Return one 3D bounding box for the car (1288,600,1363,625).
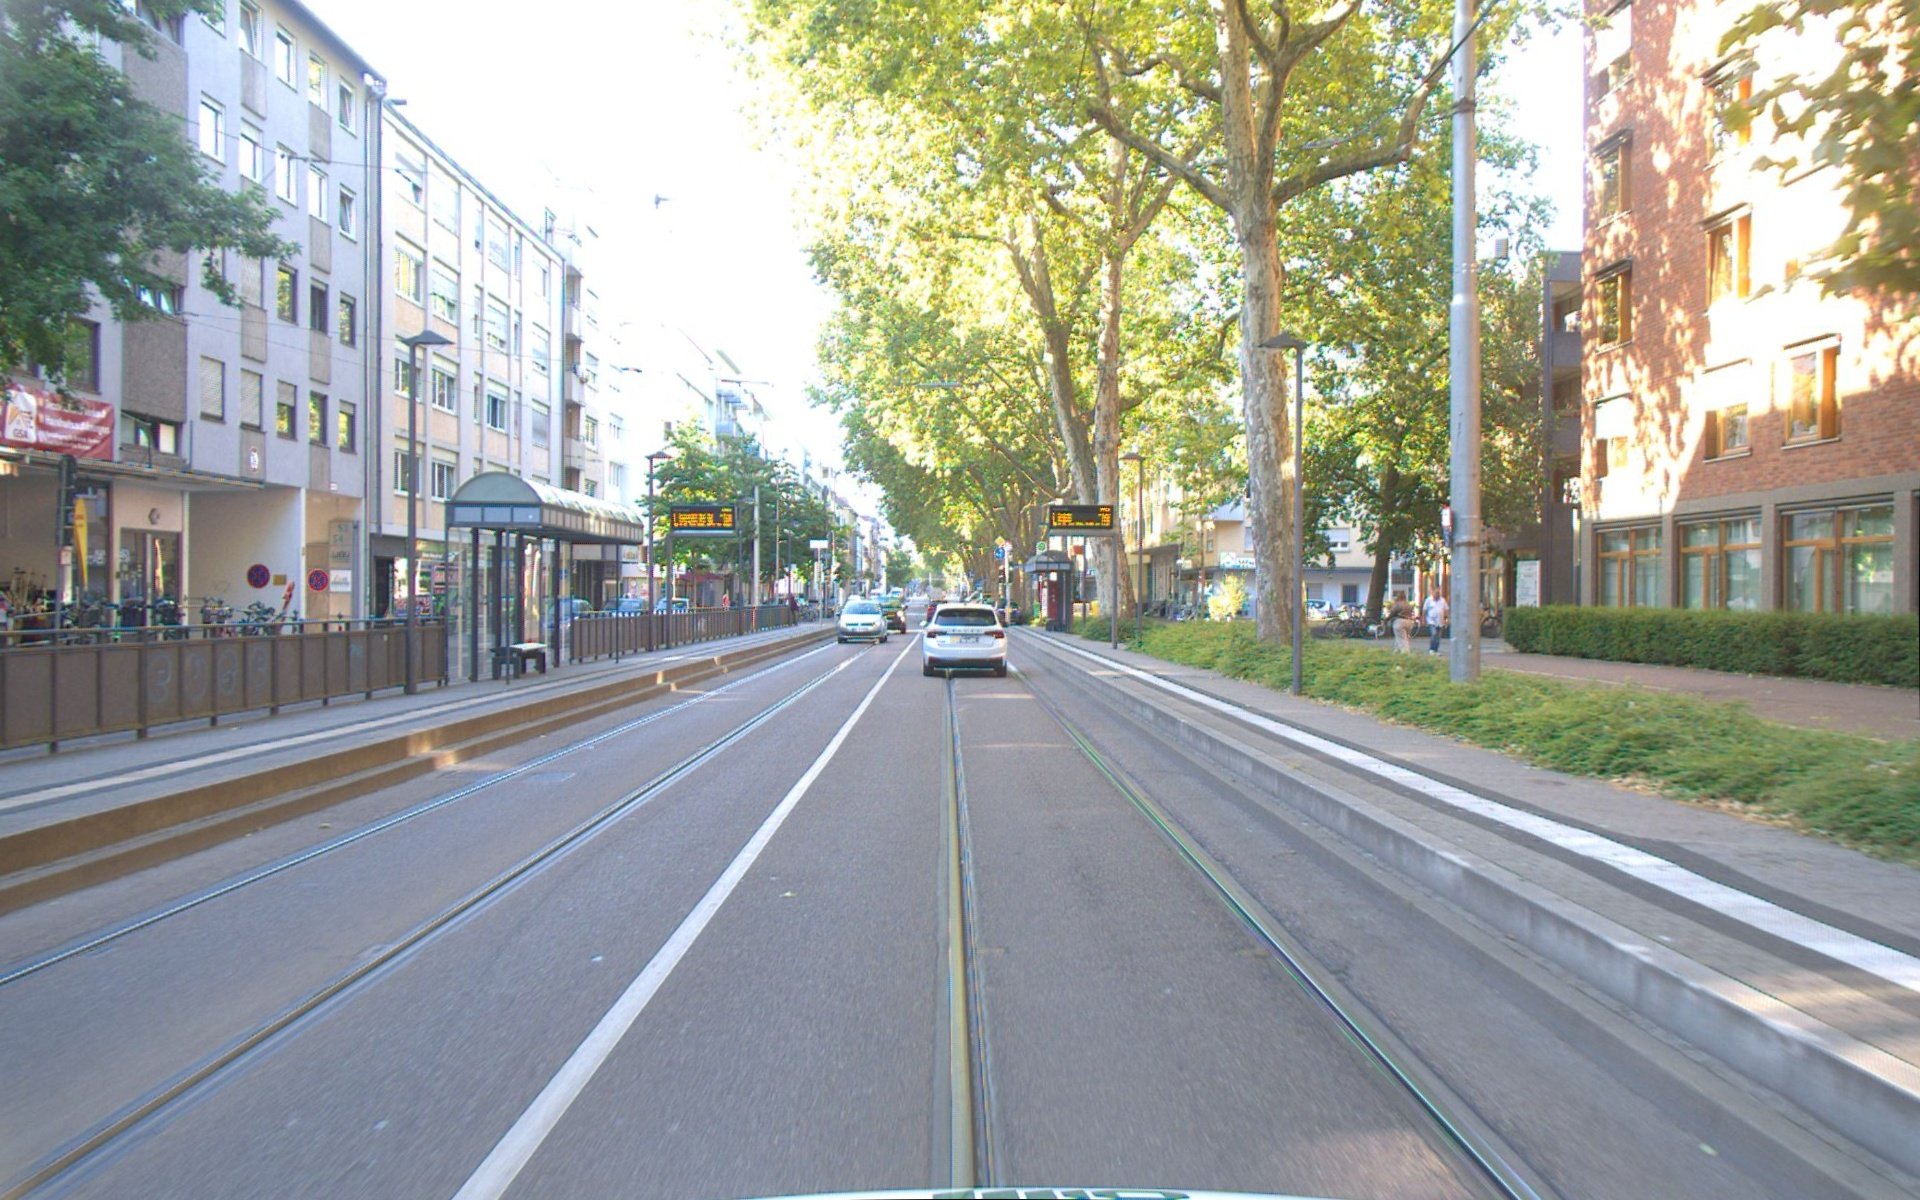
[{"bbox_3d":[20.946,0.716,94.847,3.905,1.396,1.867,0,0,0],"label":"car"}]

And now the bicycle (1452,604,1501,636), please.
[{"bbox_3d":[17.235,0.664,55.175,1.534,1.055,0.479,0,0,22],"label":"bicycle"}]

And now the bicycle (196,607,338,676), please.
[{"bbox_3d":[-12.372,0.737,29.542,2.207,1.092,0.636,3,0,0],"label":"bicycle"}]

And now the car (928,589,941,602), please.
[{"bbox_3d":[-3.620,-0.651,238.336,1.828,1.925,3.999,0,0,-1],"label":"car"}]

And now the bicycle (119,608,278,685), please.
[{"bbox_3d":[-12.200,0.734,26.535,2.207,1.092,0.636,3,0,0],"label":"bicycle"}]

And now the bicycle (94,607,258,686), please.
[{"bbox_3d":[-12.265,0.715,25.895,2.207,1.092,0.636,3,0,0],"label":"bicycle"}]

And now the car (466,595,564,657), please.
[{"bbox_3d":[-12.108,0.671,45.219,1.561,1.575,3.999,2,0,-1],"label":"car"}]

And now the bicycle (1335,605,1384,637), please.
[{"bbox_3d":[13.300,0.698,55.020,1.533,1.055,0.479,0,0,21],"label":"bicycle"}]

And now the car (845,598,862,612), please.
[{"bbox_3d":[-12.316,0.547,191.995,1.752,1.540,3.999,0,0,-1],"label":"car"}]

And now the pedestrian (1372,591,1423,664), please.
[{"bbox_3d":[10.105,0.627,38.226,0.952,1.652,0.887,0,0,-1],"label":"pedestrian"}]

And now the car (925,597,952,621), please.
[{"bbox_3d":[-1.447,0.596,109.577,1.752,1.540,3.999,0,0,-1],"label":"car"}]

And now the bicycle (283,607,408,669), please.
[{"bbox_3d":[-12.273,0.757,33.053,2.207,1.092,0.636,3,0,0],"label":"bicycle"}]

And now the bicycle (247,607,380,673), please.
[{"bbox_3d":[-12.248,0.754,31.375,2.207,1.092,0.636,3,0,0],"label":"bicycle"}]

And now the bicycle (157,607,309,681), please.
[{"bbox_3d":[-12.205,0.735,27.798,2.207,1.092,0.636,3,0,0],"label":"bicycle"}]

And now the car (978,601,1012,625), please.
[{"bbox_3d":[2.150,0.803,102.930,1.953,1.478,3.999,0,0,-1],"label":"car"}]

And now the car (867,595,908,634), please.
[{"bbox_3d":[-3.182,0.623,72.751,1.659,1.673,3.999,0,0,-1],"label":"car"}]

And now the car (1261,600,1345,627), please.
[{"bbox_3d":[17.447,0.681,84.299,3.904,1.396,1.867,0,0,1],"label":"car"}]

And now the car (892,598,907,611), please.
[{"bbox_3d":[-7.481,0.546,206.073,1.752,1.540,3.999,0,0,-1],"label":"car"}]

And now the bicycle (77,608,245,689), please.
[{"bbox_3d":[-12.210,0.741,25.305,2.207,1.092,0.636,3,0,0],"label":"bicycle"}]

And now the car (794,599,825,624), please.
[{"bbox_3d":[-10.138,0.770,111.717,1.758,1.536,3.999,2,0,-1],"label":"car"}]

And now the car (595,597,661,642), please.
[{"bbox_3d":[-12.264,0.693,61.312,1.644,1.575,3.999,2,0,-1],"label":"car"}]

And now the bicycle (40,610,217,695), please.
[{"bbox_3d":[-12.102,0.752,24.102,2.207,1.092,0.636,3,0,0],"label":"bicycle"}]

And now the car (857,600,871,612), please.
[{"bbox_3d":[-13.176,0.838,228.025,1.752,1.540,3.999,0,0,-1],"label":"car"}]

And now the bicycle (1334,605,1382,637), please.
[{"bbox_3d":[13.454,0.700,55.937,1.533,1.055,0.504,0,0,21],"label":"bicycle"}]

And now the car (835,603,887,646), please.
[{"bbox_3d":[-3.474,0.832,58.620,1.659,1.444,3.999,0,0,-1],"label":"car"}]

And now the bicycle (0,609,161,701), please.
[{"bbox_3d":[-12.129,0.737,22.454,2.207,1.092,0.636,3,0,0],"label":"bicycle"}]

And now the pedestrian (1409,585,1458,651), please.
[{"bbox_3d":[11.905,0.453,41.617,0.952,1.652,0.887,0,0,-1],"label":"pedestrian"}]

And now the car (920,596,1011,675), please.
[{"bbox_3d":[0.086,0.684,34.074,1.752,1.540,3.999,0,0,-1],"label":"car"}]

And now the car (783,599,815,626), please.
[{"bbox_3d":[-10.049,0.756,103.443,1.644,1.575,3.999,2,0,-1],"label":"car"}]

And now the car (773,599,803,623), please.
[{"bbox_3d":[-11.975,0.765,115.270,1.644,1.575,3.999,2,0,-1],"label":"car"}]

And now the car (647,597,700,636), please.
[{"bbox_3d":[-12.698,0.709,73.462,1.644,1.575,3.999,2,0,-1],"label":"car"}]

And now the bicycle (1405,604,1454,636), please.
[{"bbox_3d":[15.661,0.659,55.134,1.533,1.055,0.479,0,0,21],"label":"bicycle"}]

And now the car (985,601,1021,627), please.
[{"bbox_3d":[2.534,0.797,97.851,1.953,1.478,3.999,0,0,-1],"label":"car"}]

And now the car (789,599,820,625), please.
[{"bbox_3d":[-10.073,0.762,107.544,1.644,1.575,3.999,2,0,-1],"label":"car"}]

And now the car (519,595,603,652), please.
[{"bbox_3d":[-11.989,0.679,49.920,1.561,1.575,3.999,2,0,-1],"label":"car"}]
